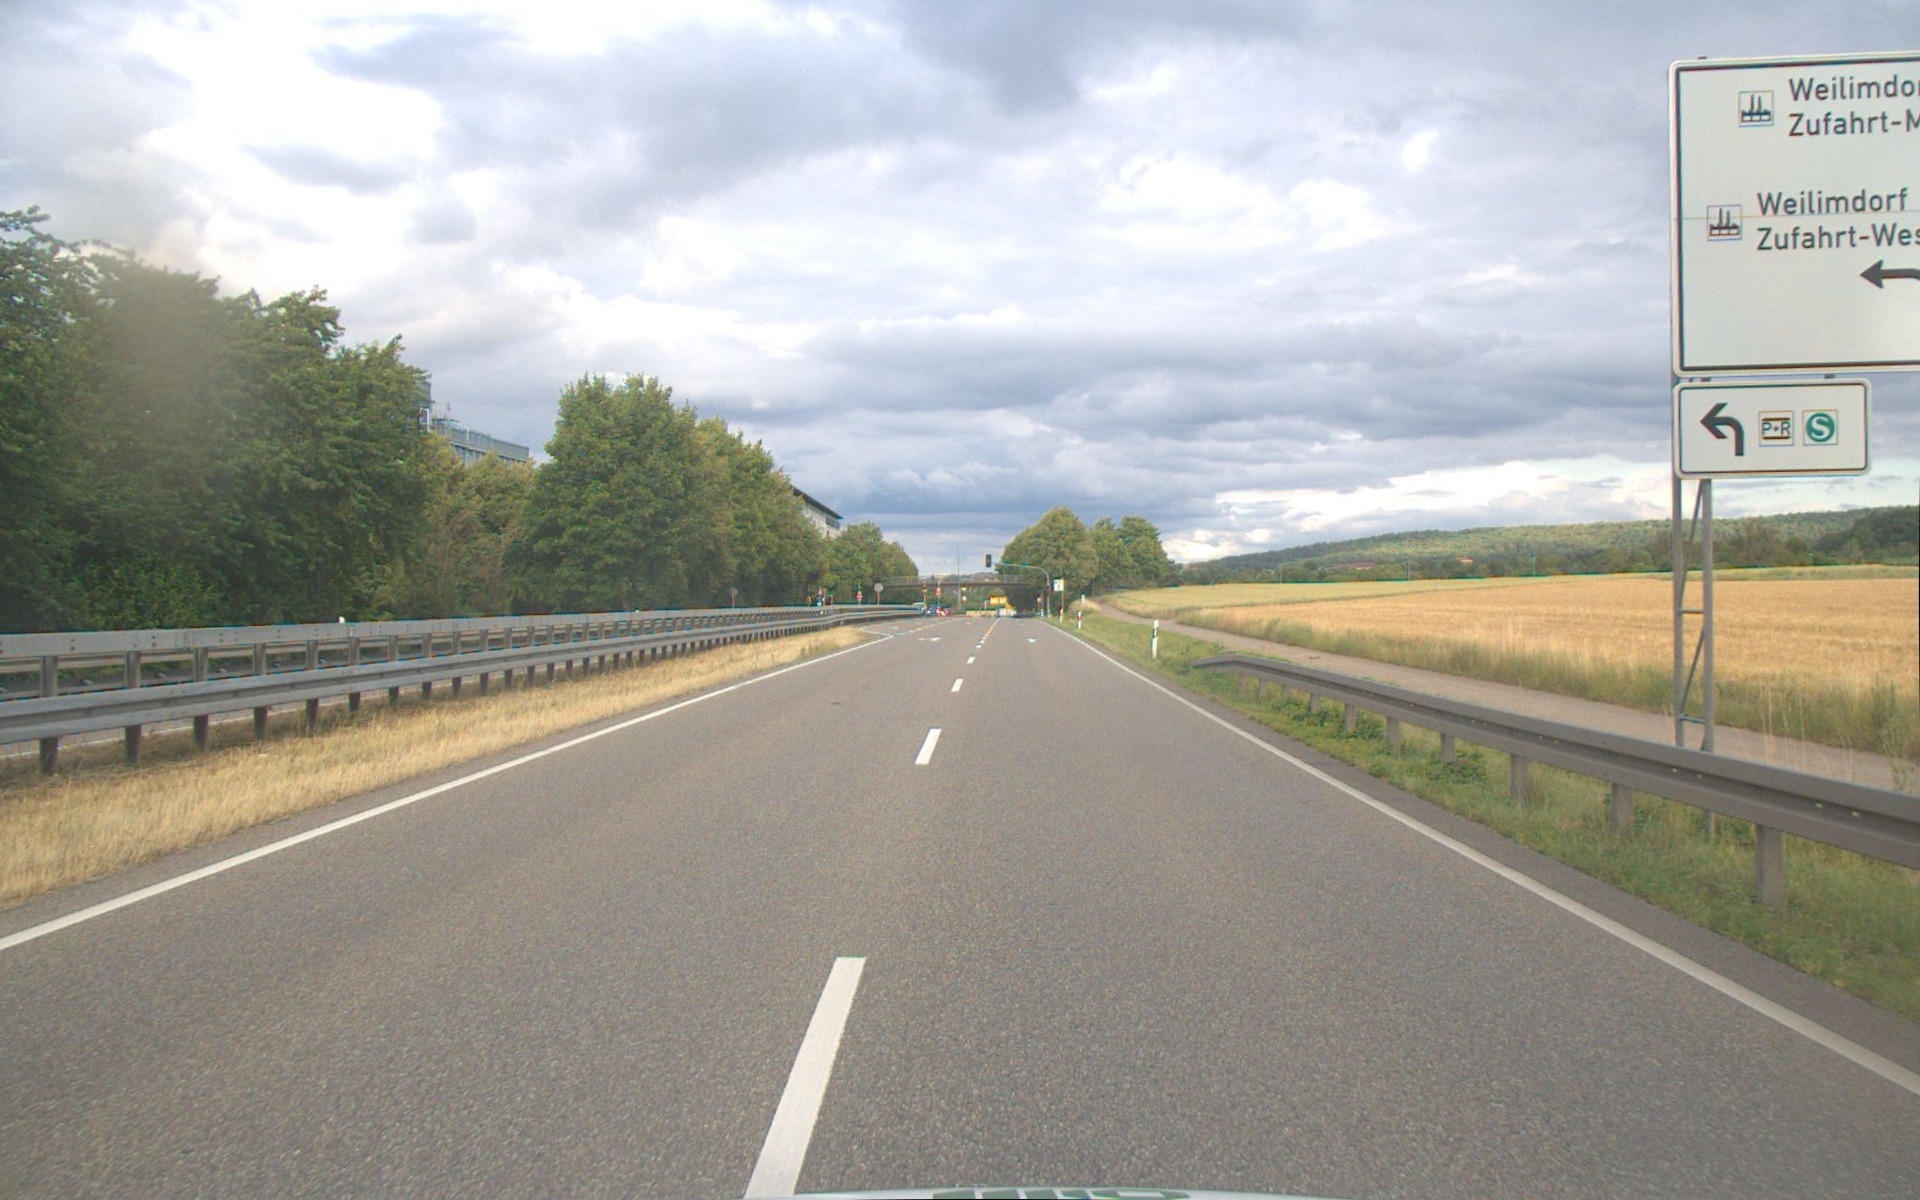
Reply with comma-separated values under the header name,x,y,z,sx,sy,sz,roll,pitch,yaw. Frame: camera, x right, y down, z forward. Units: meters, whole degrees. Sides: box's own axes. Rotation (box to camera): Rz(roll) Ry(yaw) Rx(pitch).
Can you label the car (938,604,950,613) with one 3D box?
name,x,y,z,sx,sy,sz,roll,pitch,yaw
car,-2.037,1.100,210.044,1.329,1.111,2.923,0,0,2
